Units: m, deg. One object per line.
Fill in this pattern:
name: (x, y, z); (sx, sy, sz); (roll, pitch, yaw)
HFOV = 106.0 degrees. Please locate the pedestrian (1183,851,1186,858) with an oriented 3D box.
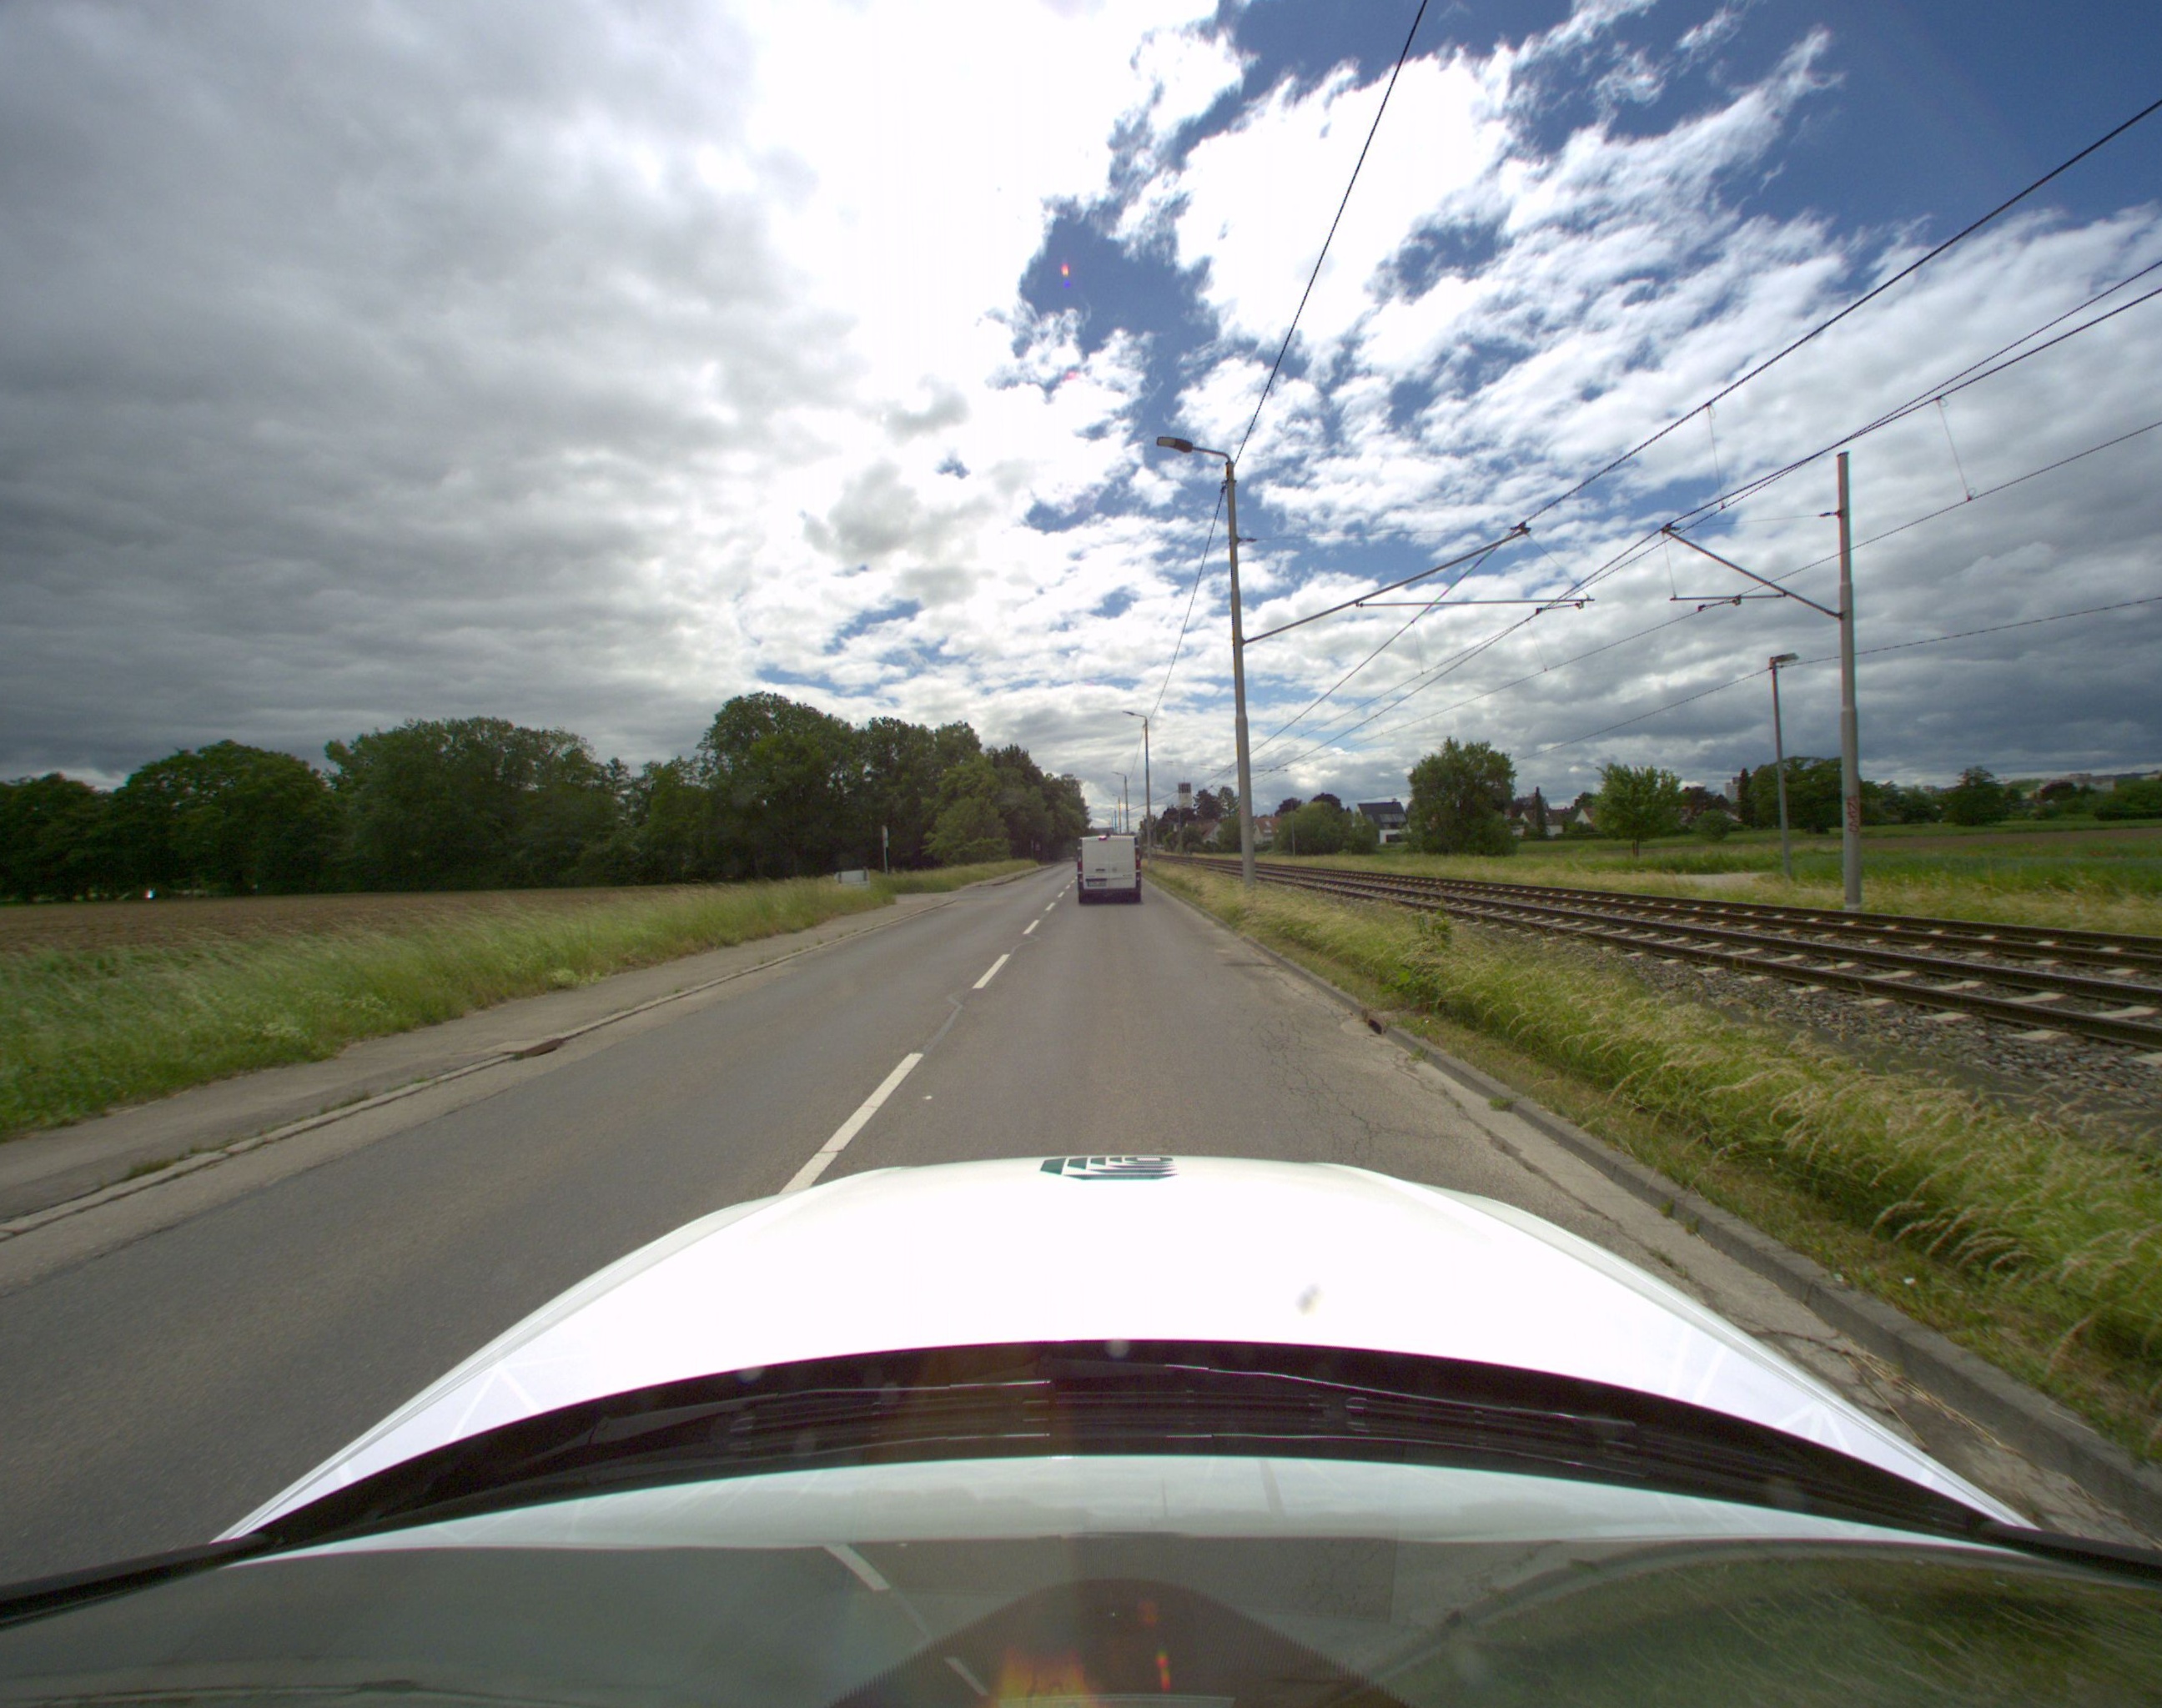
pedestrian: (22.986, 0.114, 180.745); (0.654, 1.506, 0.656); (-2, 0, 0)

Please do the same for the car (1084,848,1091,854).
car: (2.081, -0.892, 249.846); (1.986, 1.717, 4.126); (-3, 0, 2)

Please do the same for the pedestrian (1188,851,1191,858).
pedestrian: (23.826, 0.156, 178.384); (0.524, 1.506, 0.656); (-2, 0, 0)

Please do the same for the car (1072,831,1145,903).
car: (0.787, 0.373, 24.965); (1.987, 1.957, 4.000); (-2, 0, 0)
